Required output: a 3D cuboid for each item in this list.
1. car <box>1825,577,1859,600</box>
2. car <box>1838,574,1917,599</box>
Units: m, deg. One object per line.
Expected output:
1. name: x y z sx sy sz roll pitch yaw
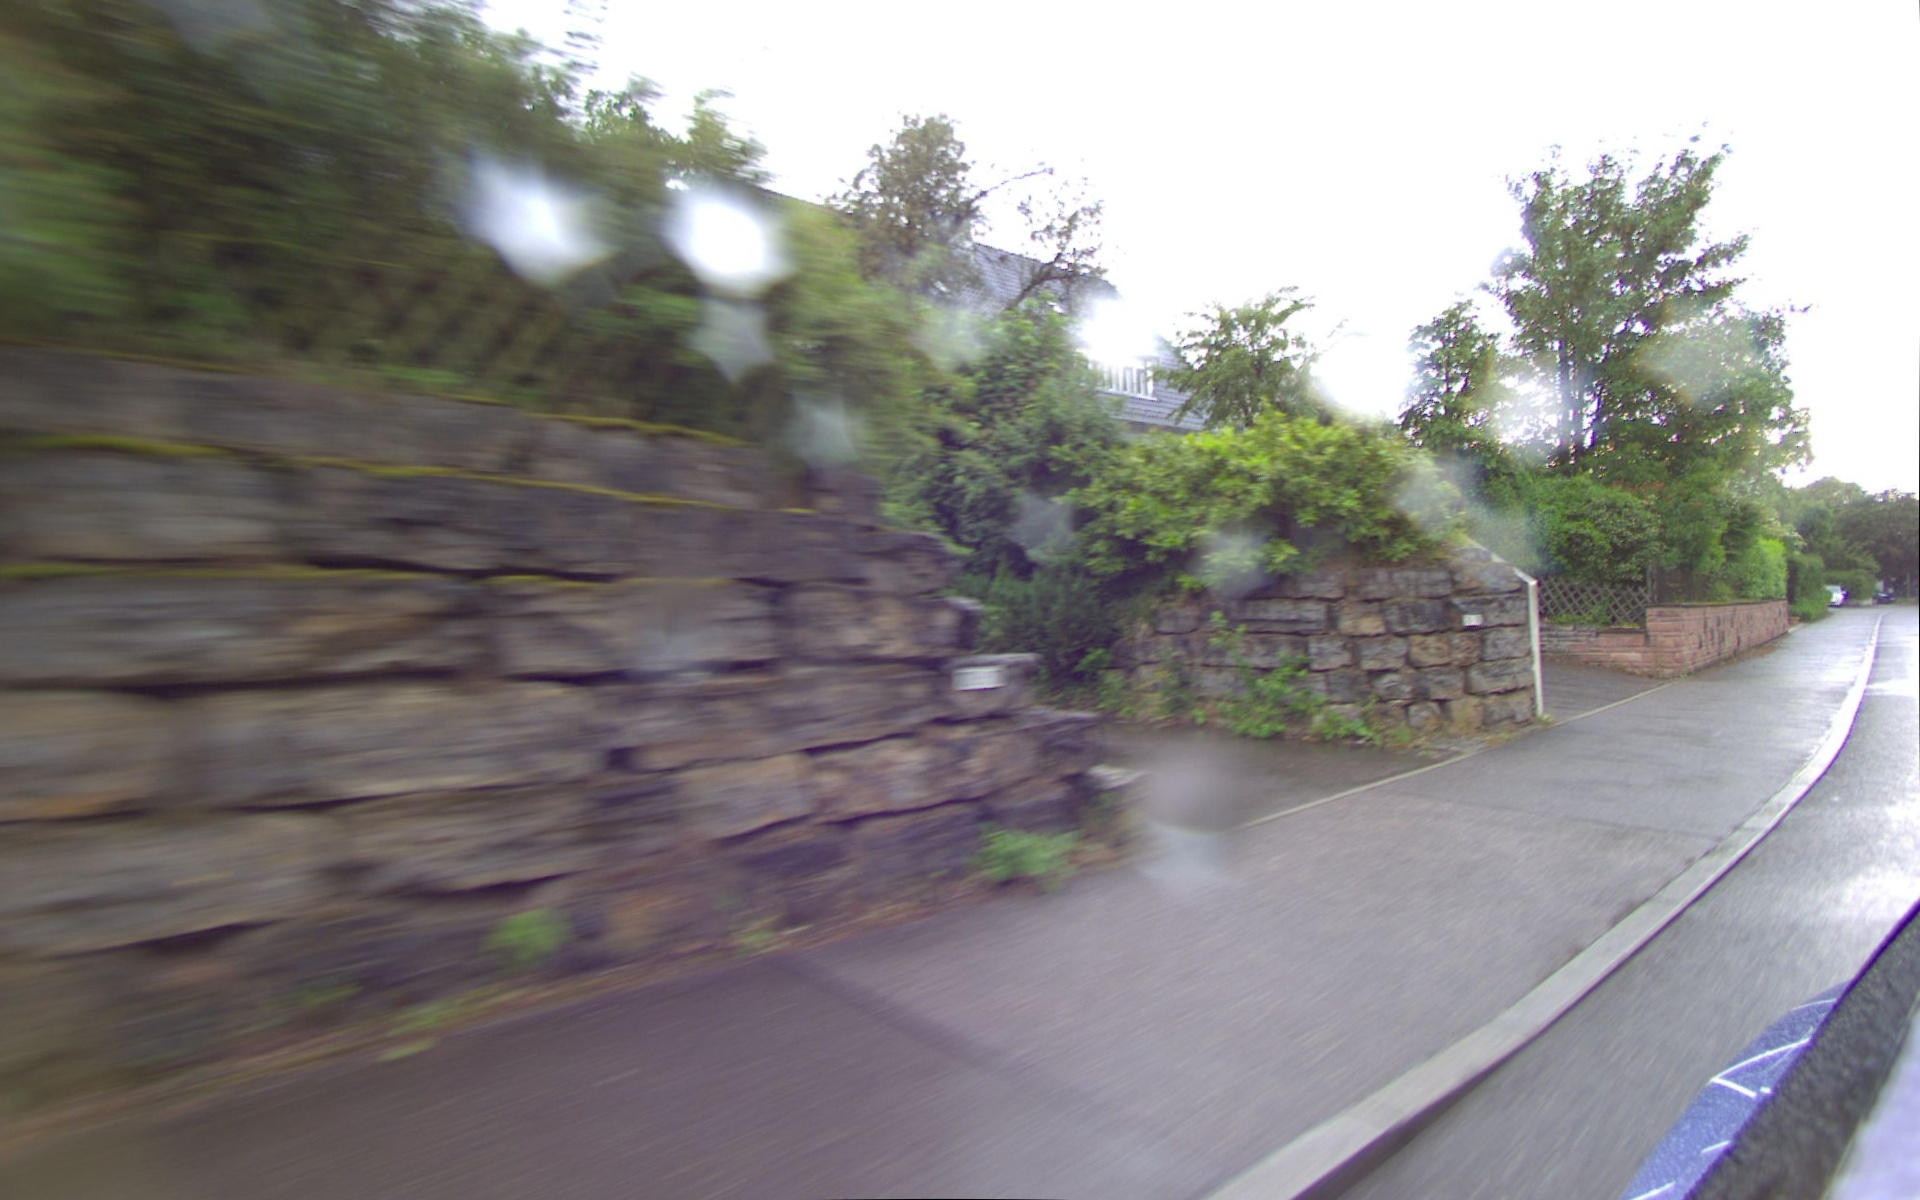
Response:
1. car: 61.043 -0.809 69.993 1.532 1.554 3.784 2 2 44
2. car: 73.842 -1.073 81.545 1.692 1.738 4.352 -2 -2 -18
